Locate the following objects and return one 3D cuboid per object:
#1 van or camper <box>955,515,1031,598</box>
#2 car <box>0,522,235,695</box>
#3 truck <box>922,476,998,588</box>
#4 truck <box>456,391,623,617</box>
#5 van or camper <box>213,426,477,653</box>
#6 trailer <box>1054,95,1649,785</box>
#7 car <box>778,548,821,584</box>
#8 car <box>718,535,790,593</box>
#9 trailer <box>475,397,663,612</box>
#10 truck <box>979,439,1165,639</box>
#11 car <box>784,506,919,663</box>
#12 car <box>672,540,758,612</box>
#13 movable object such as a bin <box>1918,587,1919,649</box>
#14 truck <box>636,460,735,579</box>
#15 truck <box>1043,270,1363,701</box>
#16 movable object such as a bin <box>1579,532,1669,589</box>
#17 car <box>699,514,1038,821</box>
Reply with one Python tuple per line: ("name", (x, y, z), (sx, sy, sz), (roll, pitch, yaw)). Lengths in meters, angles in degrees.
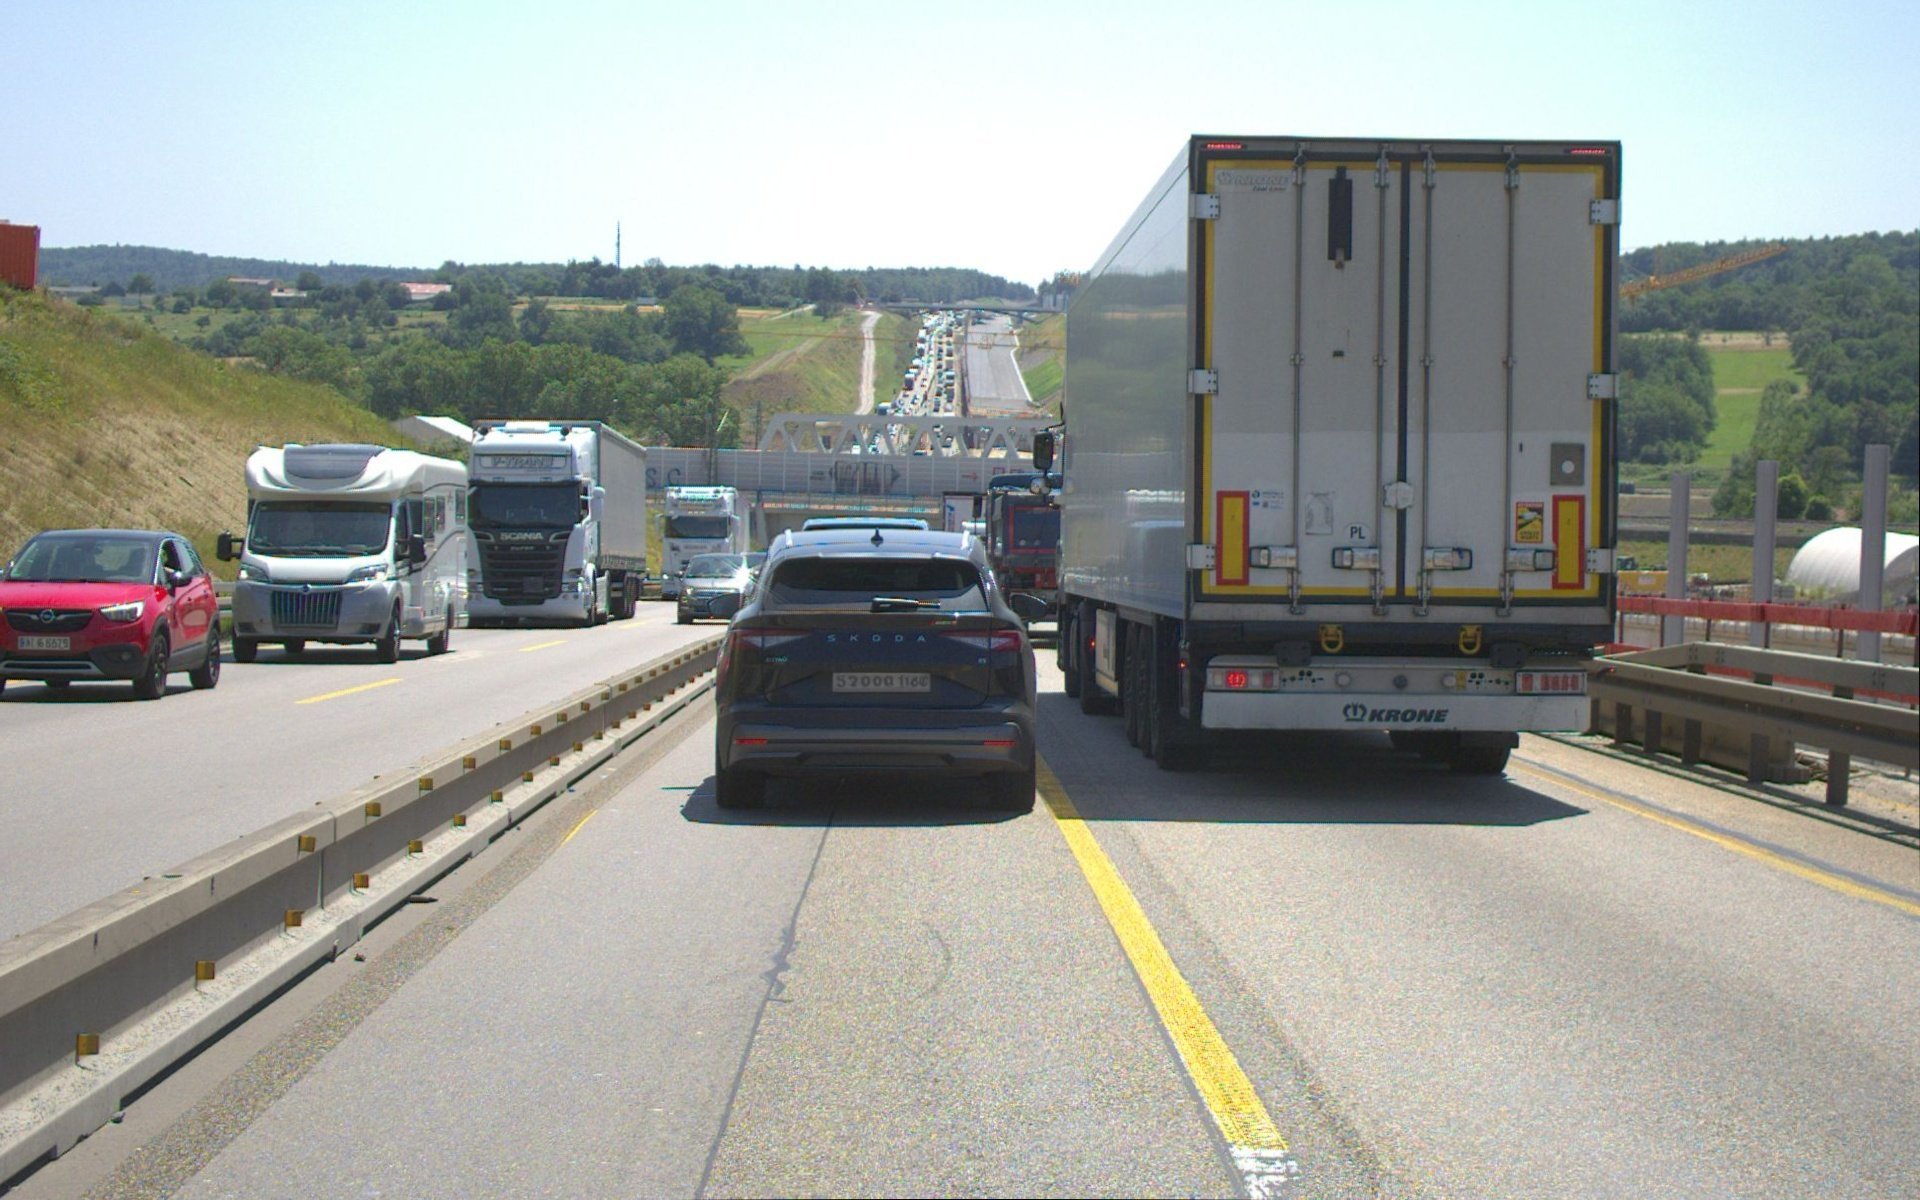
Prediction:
("van or camper", (0.908, -1.238, 97.234), (1.993, 2.237, 4.000), (2, 1, 0))
("car", (-8.262, 0.037, 33.171), (1.716, 1.546, 4.265), (0, 1, -1))
("truck", (-0.032, -2.525, 128.256), (2.517, 3.946, 7.600), (2, 1, -1))
("truck", (-8.268, -1.879, 68.075), (2.774, 4.272, 4.677), (1, 1, -1))
("van or camper", (-8.112, -0.817, 46.156), (2.334, 2.768, 7.518), (1, 1, -1))
("trailer", (2.506, -0.981, 27.331), (2.801, 4.044, 14.117), (1, 0, -1))
("car", (-7.509, -1.604, 161.192), (1.812, 1.632, 4.362), (0, 1, 0))
("car", (-5.774, -1.027, 96.827), (1.848, 1.581, 4.174), (1, 1, -1))
("trailer", (-8.446, -2.026, 75.921), (2.810, 4.272, 14.036), (1, 1, -1))
("truck", (1.796, -1.009, 60.669), (2.814, 3.124, 12.838), (1, 0, 0))
("car", (-1.263, -0.207, 40.994), (1.475, 1.789, 3.298), (0, 1, 0))
("car", (-5.179, -0.527, 72.935), (1.628, 1.474, 3.380), (1, 1, -1))
("movable object such as a bin", (35.188, 0.673, 120.578), (1.993, 2.231, 4.152), (1, 1, 0))
("truck", (-9.802, -2.844, 123.032), (3.239, 4.145, 4.247), (1, 1, -1))
("truck", (2.353, -1.094, 34.897), (2.776, 4.044, 4.905), (1, 0, -1))
("movable object such as a bin", (34.967, -2.076, 181.347), (2.887, 2.899, 9.479), (1, 1, 0))
("car", (-0.480, 0.332, 20.214), (1.800, 1.615, 3.298), (1, 1, 1))
